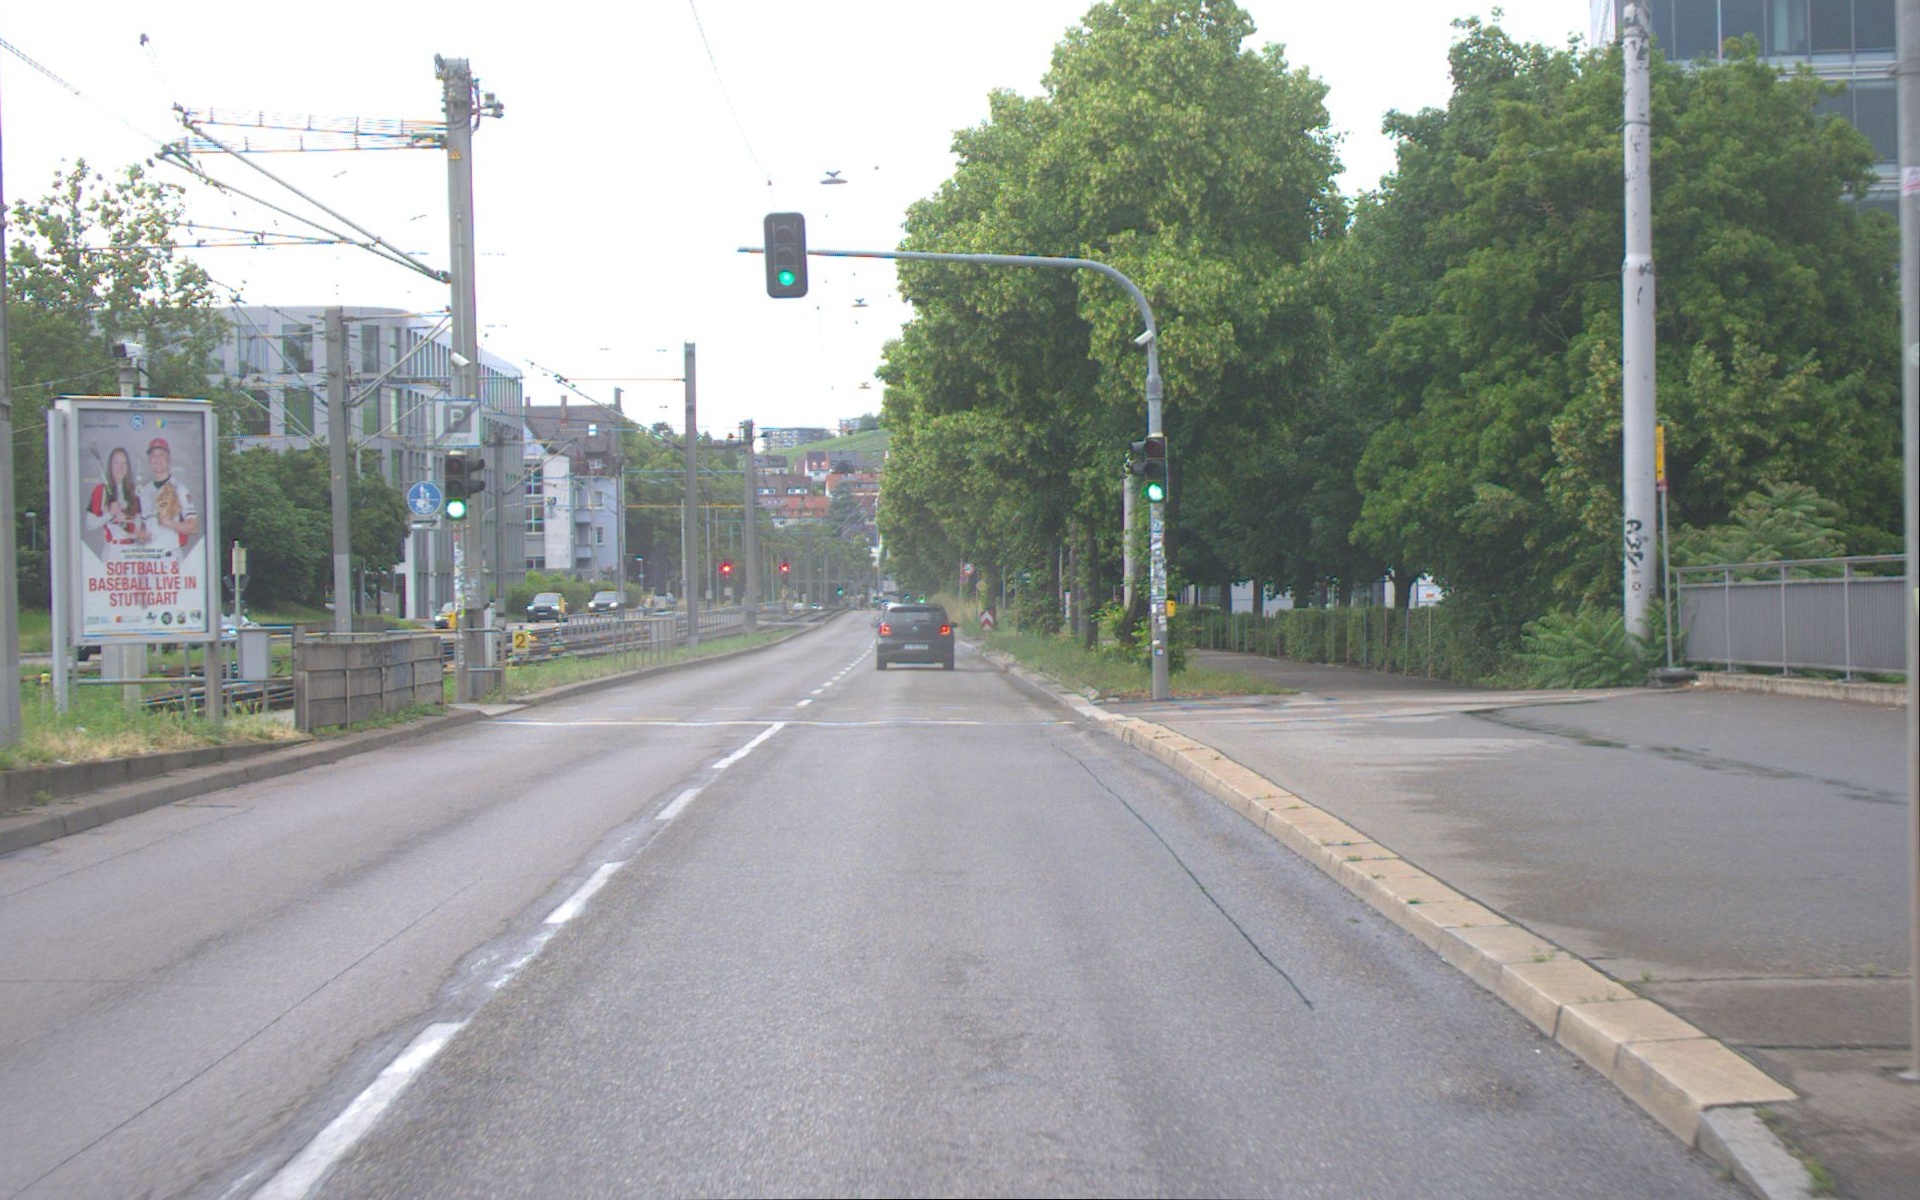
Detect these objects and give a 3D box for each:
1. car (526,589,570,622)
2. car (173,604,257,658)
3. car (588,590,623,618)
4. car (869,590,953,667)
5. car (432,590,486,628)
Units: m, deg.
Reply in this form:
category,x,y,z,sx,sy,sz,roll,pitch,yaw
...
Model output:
category,x,y,z,sx,sy,sz,roll,pitch,yaw
car,-23.597,0.302,197.017,1.850,1.626,3.609,2,3,4
car,-26.101,1.076,120.524,1.850,1.626,3.812,2,3,4
car,-23.034,0.230,223.548,1.653,1.626,3.609,2,3,4
car,-1.062,0.587,74.000,1.726,1.535,4.000,1,1,-1
car,-24.268,0.418,166.699,1.850,1.626,3.609,2,3,4
